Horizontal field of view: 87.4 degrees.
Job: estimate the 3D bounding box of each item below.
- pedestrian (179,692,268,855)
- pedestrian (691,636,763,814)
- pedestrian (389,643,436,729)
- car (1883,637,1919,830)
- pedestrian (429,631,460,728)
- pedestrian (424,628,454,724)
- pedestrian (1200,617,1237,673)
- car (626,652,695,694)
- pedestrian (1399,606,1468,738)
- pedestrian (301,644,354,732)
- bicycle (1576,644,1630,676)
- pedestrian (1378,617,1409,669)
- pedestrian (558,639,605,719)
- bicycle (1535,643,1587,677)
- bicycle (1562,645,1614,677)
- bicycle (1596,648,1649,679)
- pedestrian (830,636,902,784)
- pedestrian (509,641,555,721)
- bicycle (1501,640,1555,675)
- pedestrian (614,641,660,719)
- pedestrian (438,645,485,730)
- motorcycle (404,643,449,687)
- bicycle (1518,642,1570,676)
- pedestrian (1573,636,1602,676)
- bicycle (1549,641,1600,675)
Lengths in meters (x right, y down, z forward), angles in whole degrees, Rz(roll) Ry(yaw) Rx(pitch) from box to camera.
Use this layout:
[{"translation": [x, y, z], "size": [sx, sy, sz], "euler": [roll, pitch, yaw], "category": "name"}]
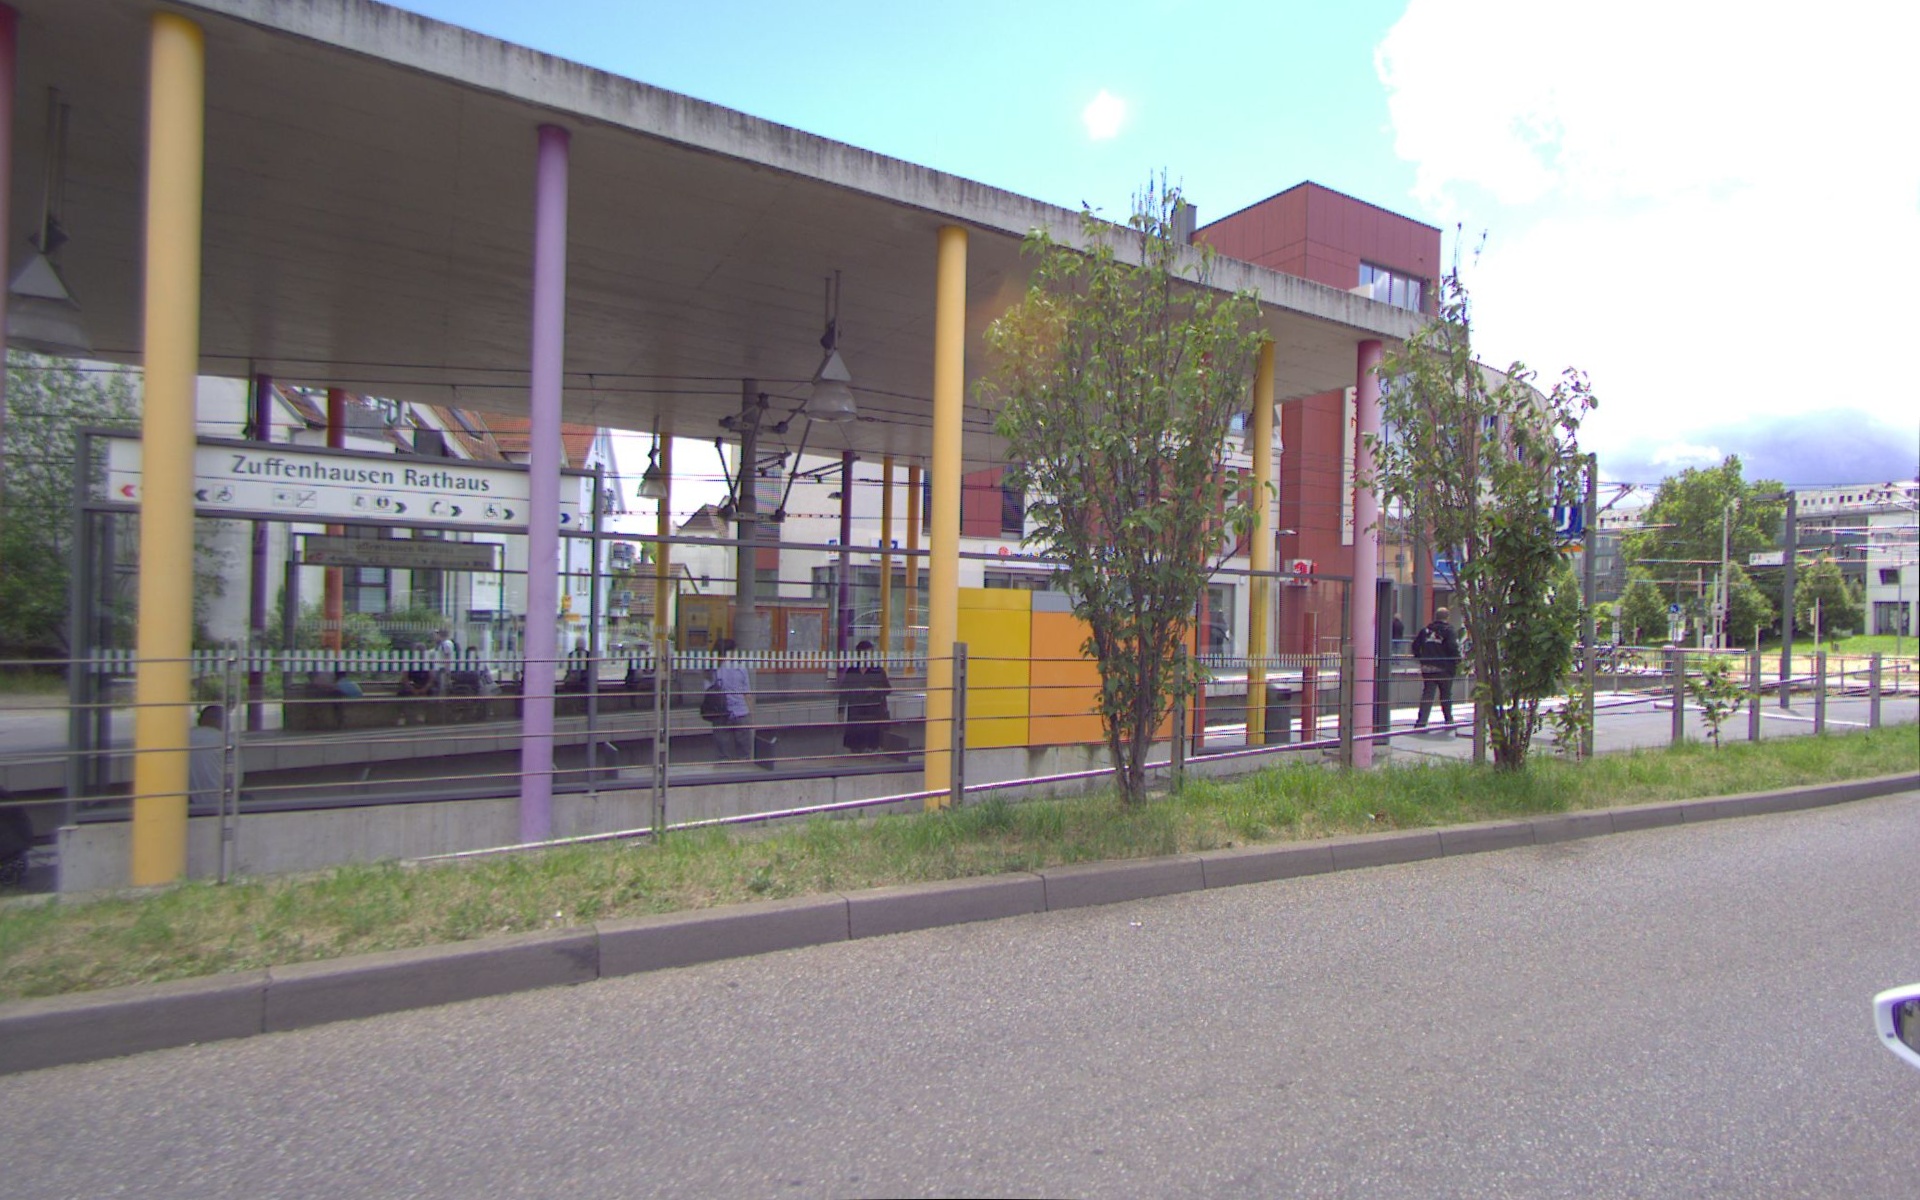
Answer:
[{"translation": [-5.517, 1.274, 7.549], "size": [0.478, 1.097, 0.562], "euler": [0, 1, -30], "category": "pedestrian"}, {"translation": [-2.284, 1.193, 9.841], "size": [0.542, 1.655, 0.528], "euler": [0, 1, -31], "category": "pedestrian"}, {"translation": [-9.509, 1.475, 17.449], "size": [0.693, 1.398, 0.648], "euler": [1, 1, -29], "category": "pedestrian"}, {"translation": [9.643, 1.093, 8.434], "size": [3.954, 1.528, 1.762], "euler": [1, -1, -31], "category": "car"}, {"translation": [-9.855, 1.500, 19.210], "size": [0.486, 1.799, 0.480], "euler": [0, 1, -33], "category": "pedestrian"}, {"translation": [-10.364, 1.499, 19.970], "size": [0.486, 1.845, 0.480], "euler": [0, 1, -33], "category": "pedestrian"}, {"translation": [7.977, 1.384, 31.004], "size": [0.833, 1.671, 0.653], "euler": [4, 0, -30], "category": "pedestrian"}, {"translation": [-10.597, 2.590, 35.756], "size": [1.617, 1.342, 3.716], "euler": [4, -4, -6], "category": "car"}, {"translation": [6.981, 1.028, 14.813], "size": [0.725, 1.870, 0.780], "euler": [2, 1, 39], "category": "pedestrian"}, {"translation": [-10.634, 1.459, 16.909], "size": [0.696, 1.398, 0.683], "euler": [1, 1, -29], "category": "pedestrian"}, {"translation": [22.960, 2.147, 35.877], "size": [0.509, 1.115, 1.558], "euler": [4, -4, -31], "category": "bicycle"}, {"translation": [15.991, 1.586, 37.016], "size": [0.730, 1.875, 0.653], "euler": [4, 0, -29], "category": "pedestrian"}, {"translation": [-7.062, 1.450, 18.733], "size": [0.693, 1.398, 0.819], "euler": [1, 1, -29], "category": "pedestrian"}, {"translation": [20.485, 2.032, 34.272], "size": [0.404, 1.115, 1.500], "euler": [4, -4, -31], "category": "bicycle"}, {"translation": [22.075, 2.136, 35.349], "size": [0.487, 1.115, 1.500], "euler": [4, -4, -31], "category": "bicycle"}, {"translation": [24.235, 2.318, 36.779], "size": [0.509, 1.115, 1.558], "euler": [4, -4, -31], "category": "bicycle"}, {"translation": [-1.027, 1.186, 11.113], "size": [0.741, 1.547, 0.686], "euler": [-1, 0, -3], "category": "pedestrian"}, {"translation": [-7.833, 1.463, 18.370], "size": [0.693, 1.398, 0.648], "euler": [1, 1, -29], "category": "pedestrian"}, {"translation": [18.757, 1.896, 33.193], "size": [0.404, 1.115, 1.558], "euler": [4, -4, -31], "category": "bicycle"}, {"translation": [-6.167, 1.504, 19.158], "size": [0.693, 1.398, 0.819], "euler": [1, 1, -29], "category": "pedestrian"}, {"translation": [-8.764, 1.512, 17.662], "size": [0.693, 1.398, 0.922], "euler": [1, 1, -29], "category": "pedestrian"}, {"translation": [-16.990, 2.070, 32.043], "size": [0.503, 1.356, 1.567], "euler": [0, -2, 3], "category": "motorcycle"}, {"translation": [19.604, 1.978, 33.727], "size": [0.404, 1.115, 1.500], "euler": [4, -4, -31], "category": "bicycle"}, {"translation": [26.390, 2.349, 42.237], "size": [0.843, 1.592, 0.856], "euler": [3, -1, 44], "category": "pedestrian"}, {"translation": [21.219, 2.002, 34.720], "size": [0.404, 1.115, 1.500], "euler": [4, -4, -31], "category": "bicycle"}]
